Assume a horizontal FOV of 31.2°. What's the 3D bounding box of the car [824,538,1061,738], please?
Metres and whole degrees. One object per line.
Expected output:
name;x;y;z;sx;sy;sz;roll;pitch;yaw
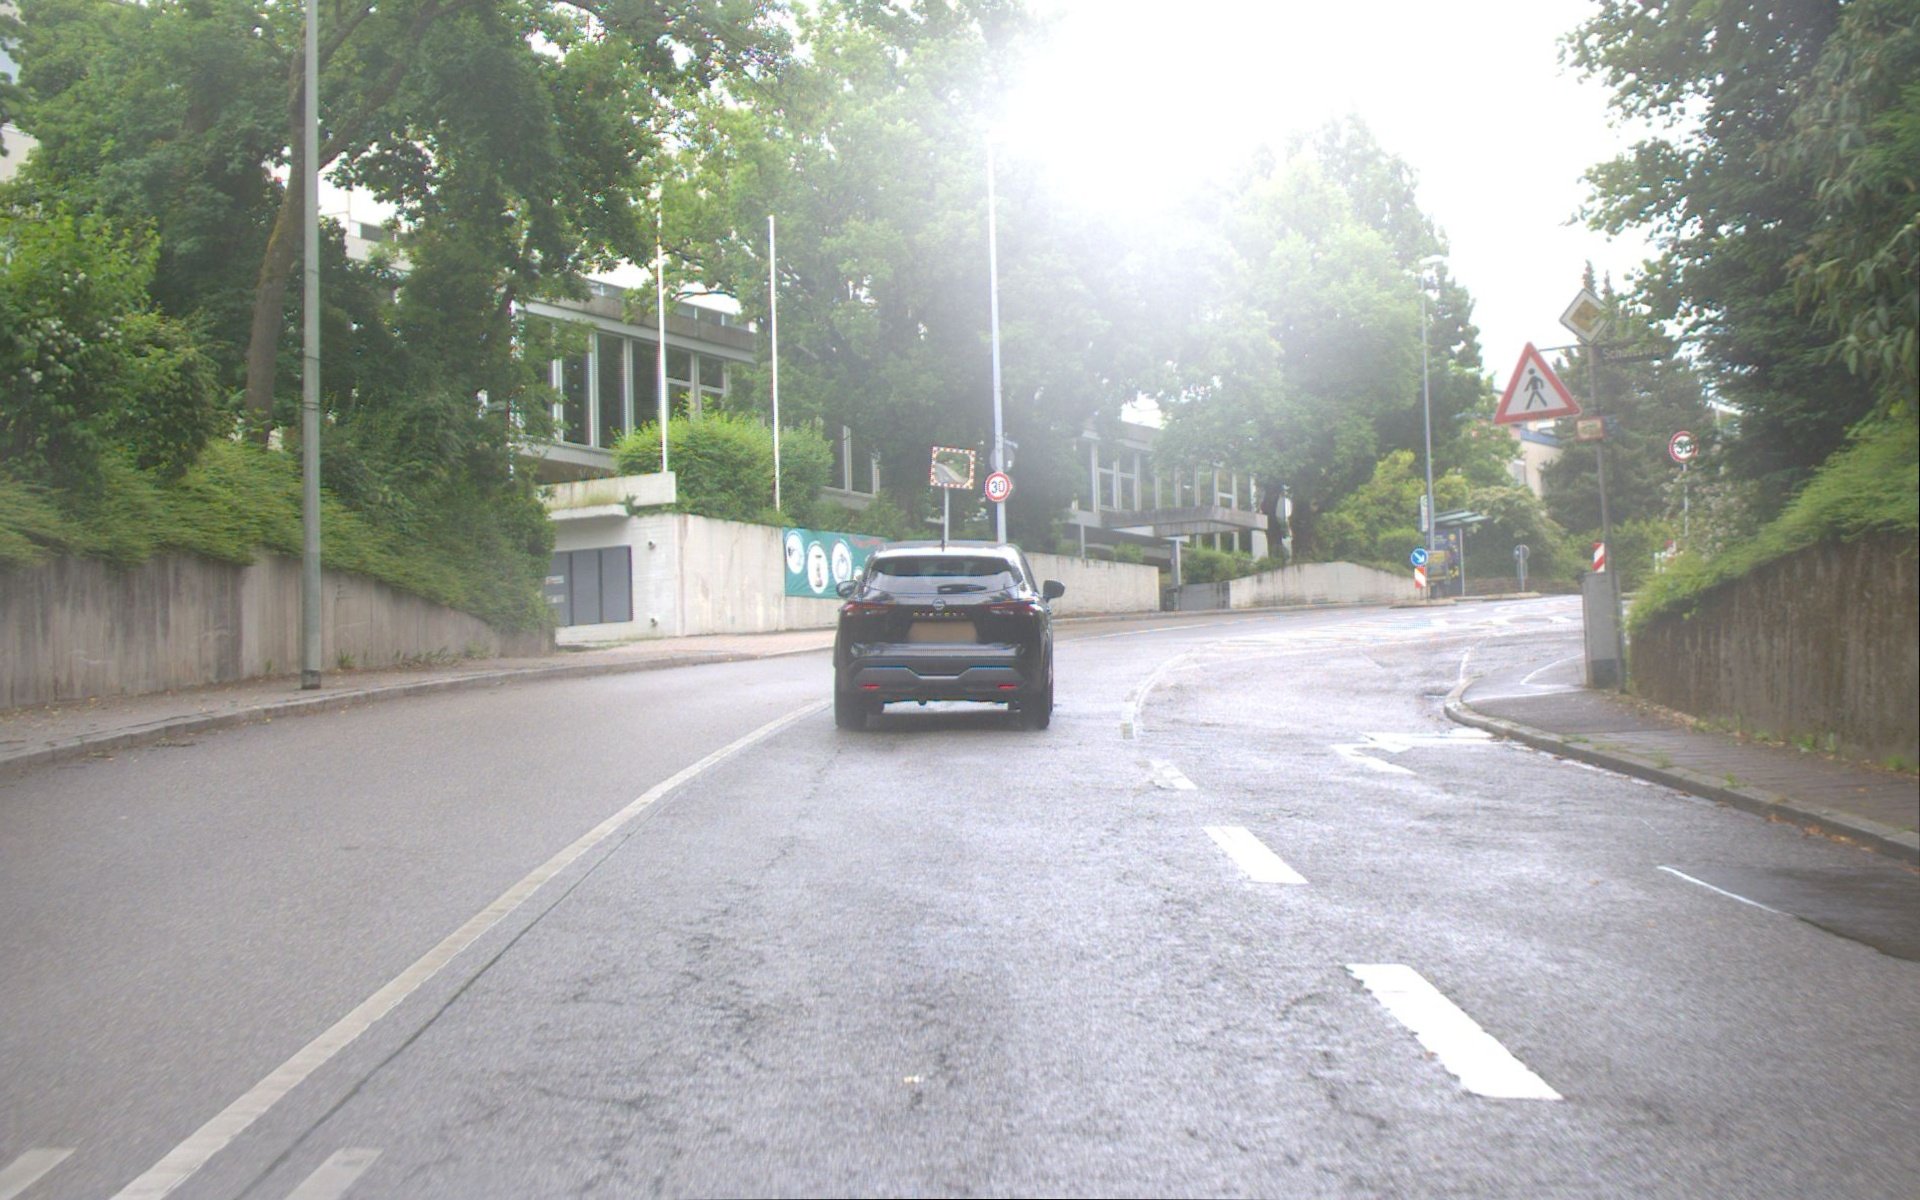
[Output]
car;-0.173;0.276;30.326;1.928;1.607;4.000;-1;1;-1
